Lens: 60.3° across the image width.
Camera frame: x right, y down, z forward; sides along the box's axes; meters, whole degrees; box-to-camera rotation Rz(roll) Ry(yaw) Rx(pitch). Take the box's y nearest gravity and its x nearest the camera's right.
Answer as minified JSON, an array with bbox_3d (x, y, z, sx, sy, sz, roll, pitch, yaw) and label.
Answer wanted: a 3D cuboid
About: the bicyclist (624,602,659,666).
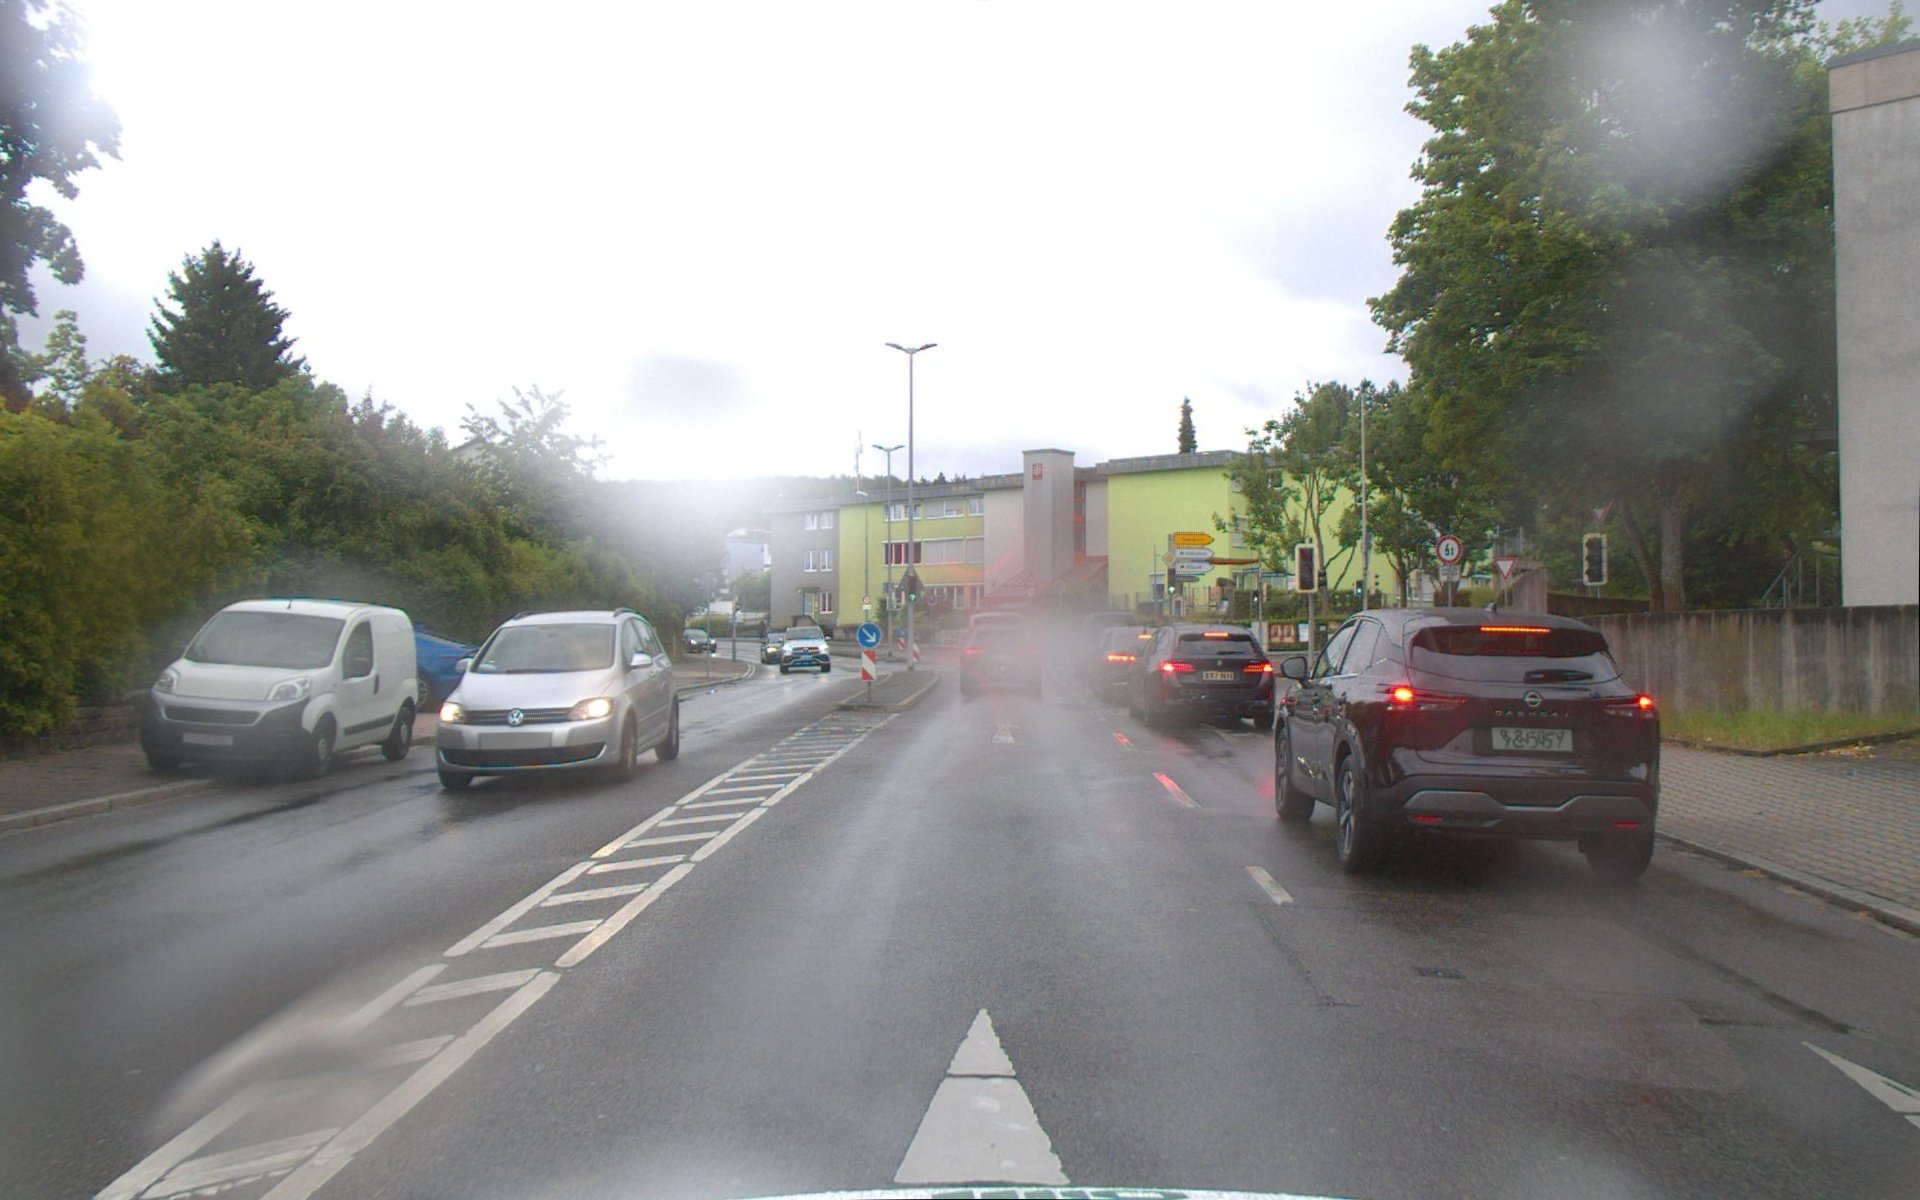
[{"bbox_3d":[-8.390,0.894,43.605,0.749,1.640,0.868,1,-1,0],"label":"bicyclist"}]

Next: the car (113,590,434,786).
[{"bbox_3d":[-7.019,0.834,17.384,1.666,1.737,3.978,3,0,-1],"label":"car"}]

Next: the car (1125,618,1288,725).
[{"bbox_3d":[3.692,1.028,25.552,1.866,1.484,4.778,-1,-1,1],"label":"car"}]

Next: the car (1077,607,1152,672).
[{"bbox_3d":[4.374,1.089,47.380,1.746,1.765,4.086,1,0,0],"label":"car"}]

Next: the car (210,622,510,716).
[{"bbox_3d":[-10.031,1.143,27.935,4.395,1.386,1.803,2,0,-5],"label":"car"}]

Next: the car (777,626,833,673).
[{"bbox_3d":[-6.256,1.943,66.210,2.003,1.746,4.473,-2,0,-8],"label":"car"}]

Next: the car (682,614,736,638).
[{"bbox_3d":[-21.576,2.220,141.911,4.323,1.803,1.991,-3,-1,-16],"label":"car"}]

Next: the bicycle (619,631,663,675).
[{"bbox_3d":[-8.386,1.385,43.528,0.731,1.105,1.989,1,-1,0],"label":"bicycle"}]

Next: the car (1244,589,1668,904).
[{"bbox_3d":[3.099,0.794,11.260,1.752,1.631,4.255,1,2,2],"label":"car"}]

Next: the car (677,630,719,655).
[{"bbox_3d":[-17.187,2.771,108.456,1.768,1.515,4.125,-2,-1,-23],"label":"car"}]

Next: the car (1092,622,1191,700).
[{"bbox_3d":[3.642,1.188,33.741,1.671,1.452,4.509,-1,-1,2],"label":"car"}]

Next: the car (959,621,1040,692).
[{"bbox_3d":[0.878,1.269,38.462,1.649,1.532,3.772,1,0,-2],"label":"car"}]

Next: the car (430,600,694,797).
[{"bbox_3d":[-3.766,0.863,16.340,1.601,1.607,4.056,-3,0,-1],"label":"car"}]

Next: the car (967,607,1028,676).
[{"bbox_3d":[1.106,1.162,47.978,1.681,1.877,4.088,1,0,2],"label":"car"}]
